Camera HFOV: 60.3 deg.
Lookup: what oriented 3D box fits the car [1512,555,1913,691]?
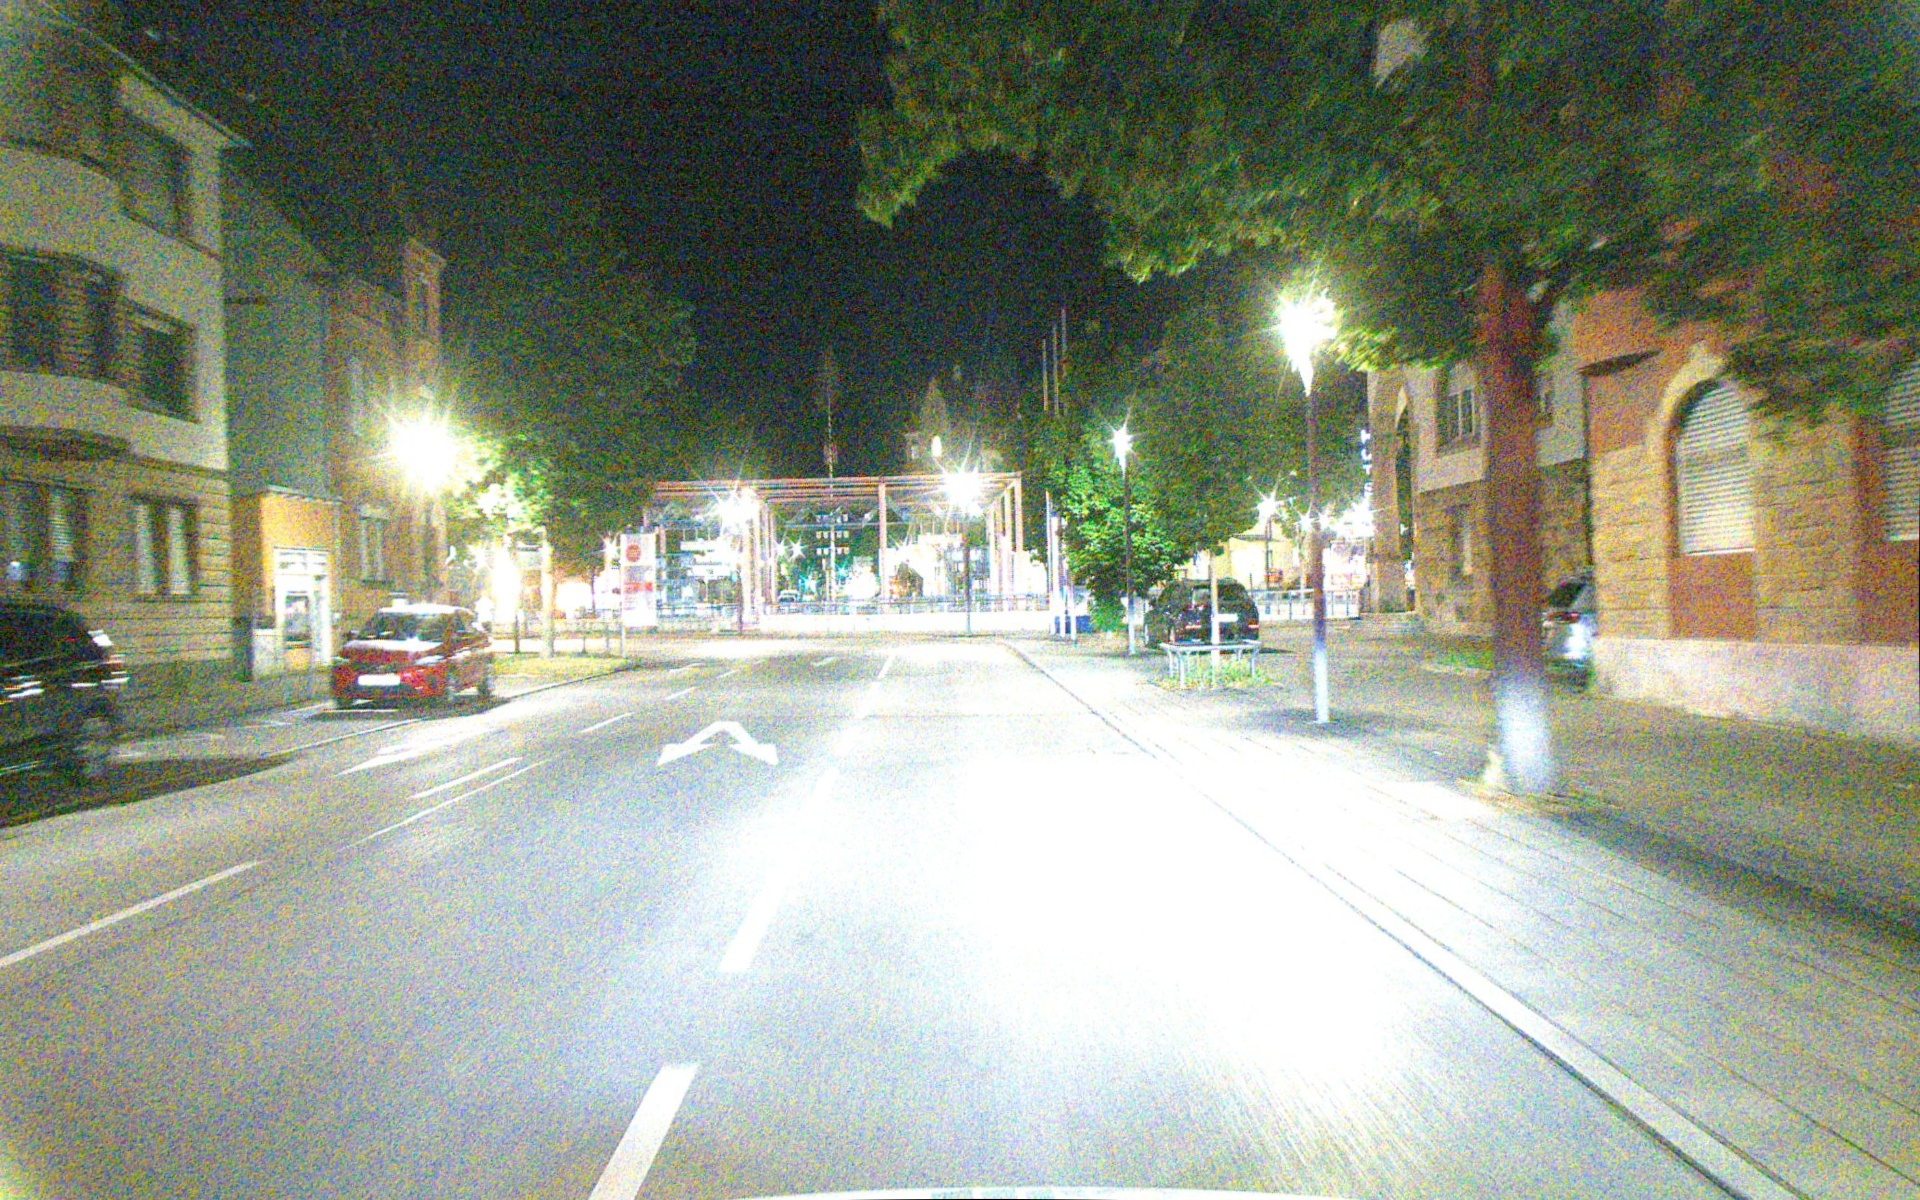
[{"bbox_3d":[9.631,0.271,21.446,4.334,1.485,1.790,-3,1,4],"label":"car"}]

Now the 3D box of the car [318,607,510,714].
[{"bbox_3d":[-8.311,0.870,25.549,1.749,1.440,4.124,-1,1,-3],"label":"car"}]

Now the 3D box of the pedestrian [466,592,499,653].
[{"bbox_3d":[-14.656,0.683,50.809,0.680,1.854,0.721,-2,-2,42],"label":"pedestrian"}]

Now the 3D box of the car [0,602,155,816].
[{"bbox_3d":[-8.241,0.843,12.895,1.748,1.609,4.411,0,0,0],"label":"car"}]

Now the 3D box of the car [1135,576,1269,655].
[{"bbox_3d":[4.986,0.294,34.674,1.700,1.485,4.722,-2,0,-5],"label":"car"}]

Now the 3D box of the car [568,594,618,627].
[{"bbox_3d":[-19.130,0.539,86.398,1.955,1.601,4.324,-2,1,-5],"label":"car"}]
